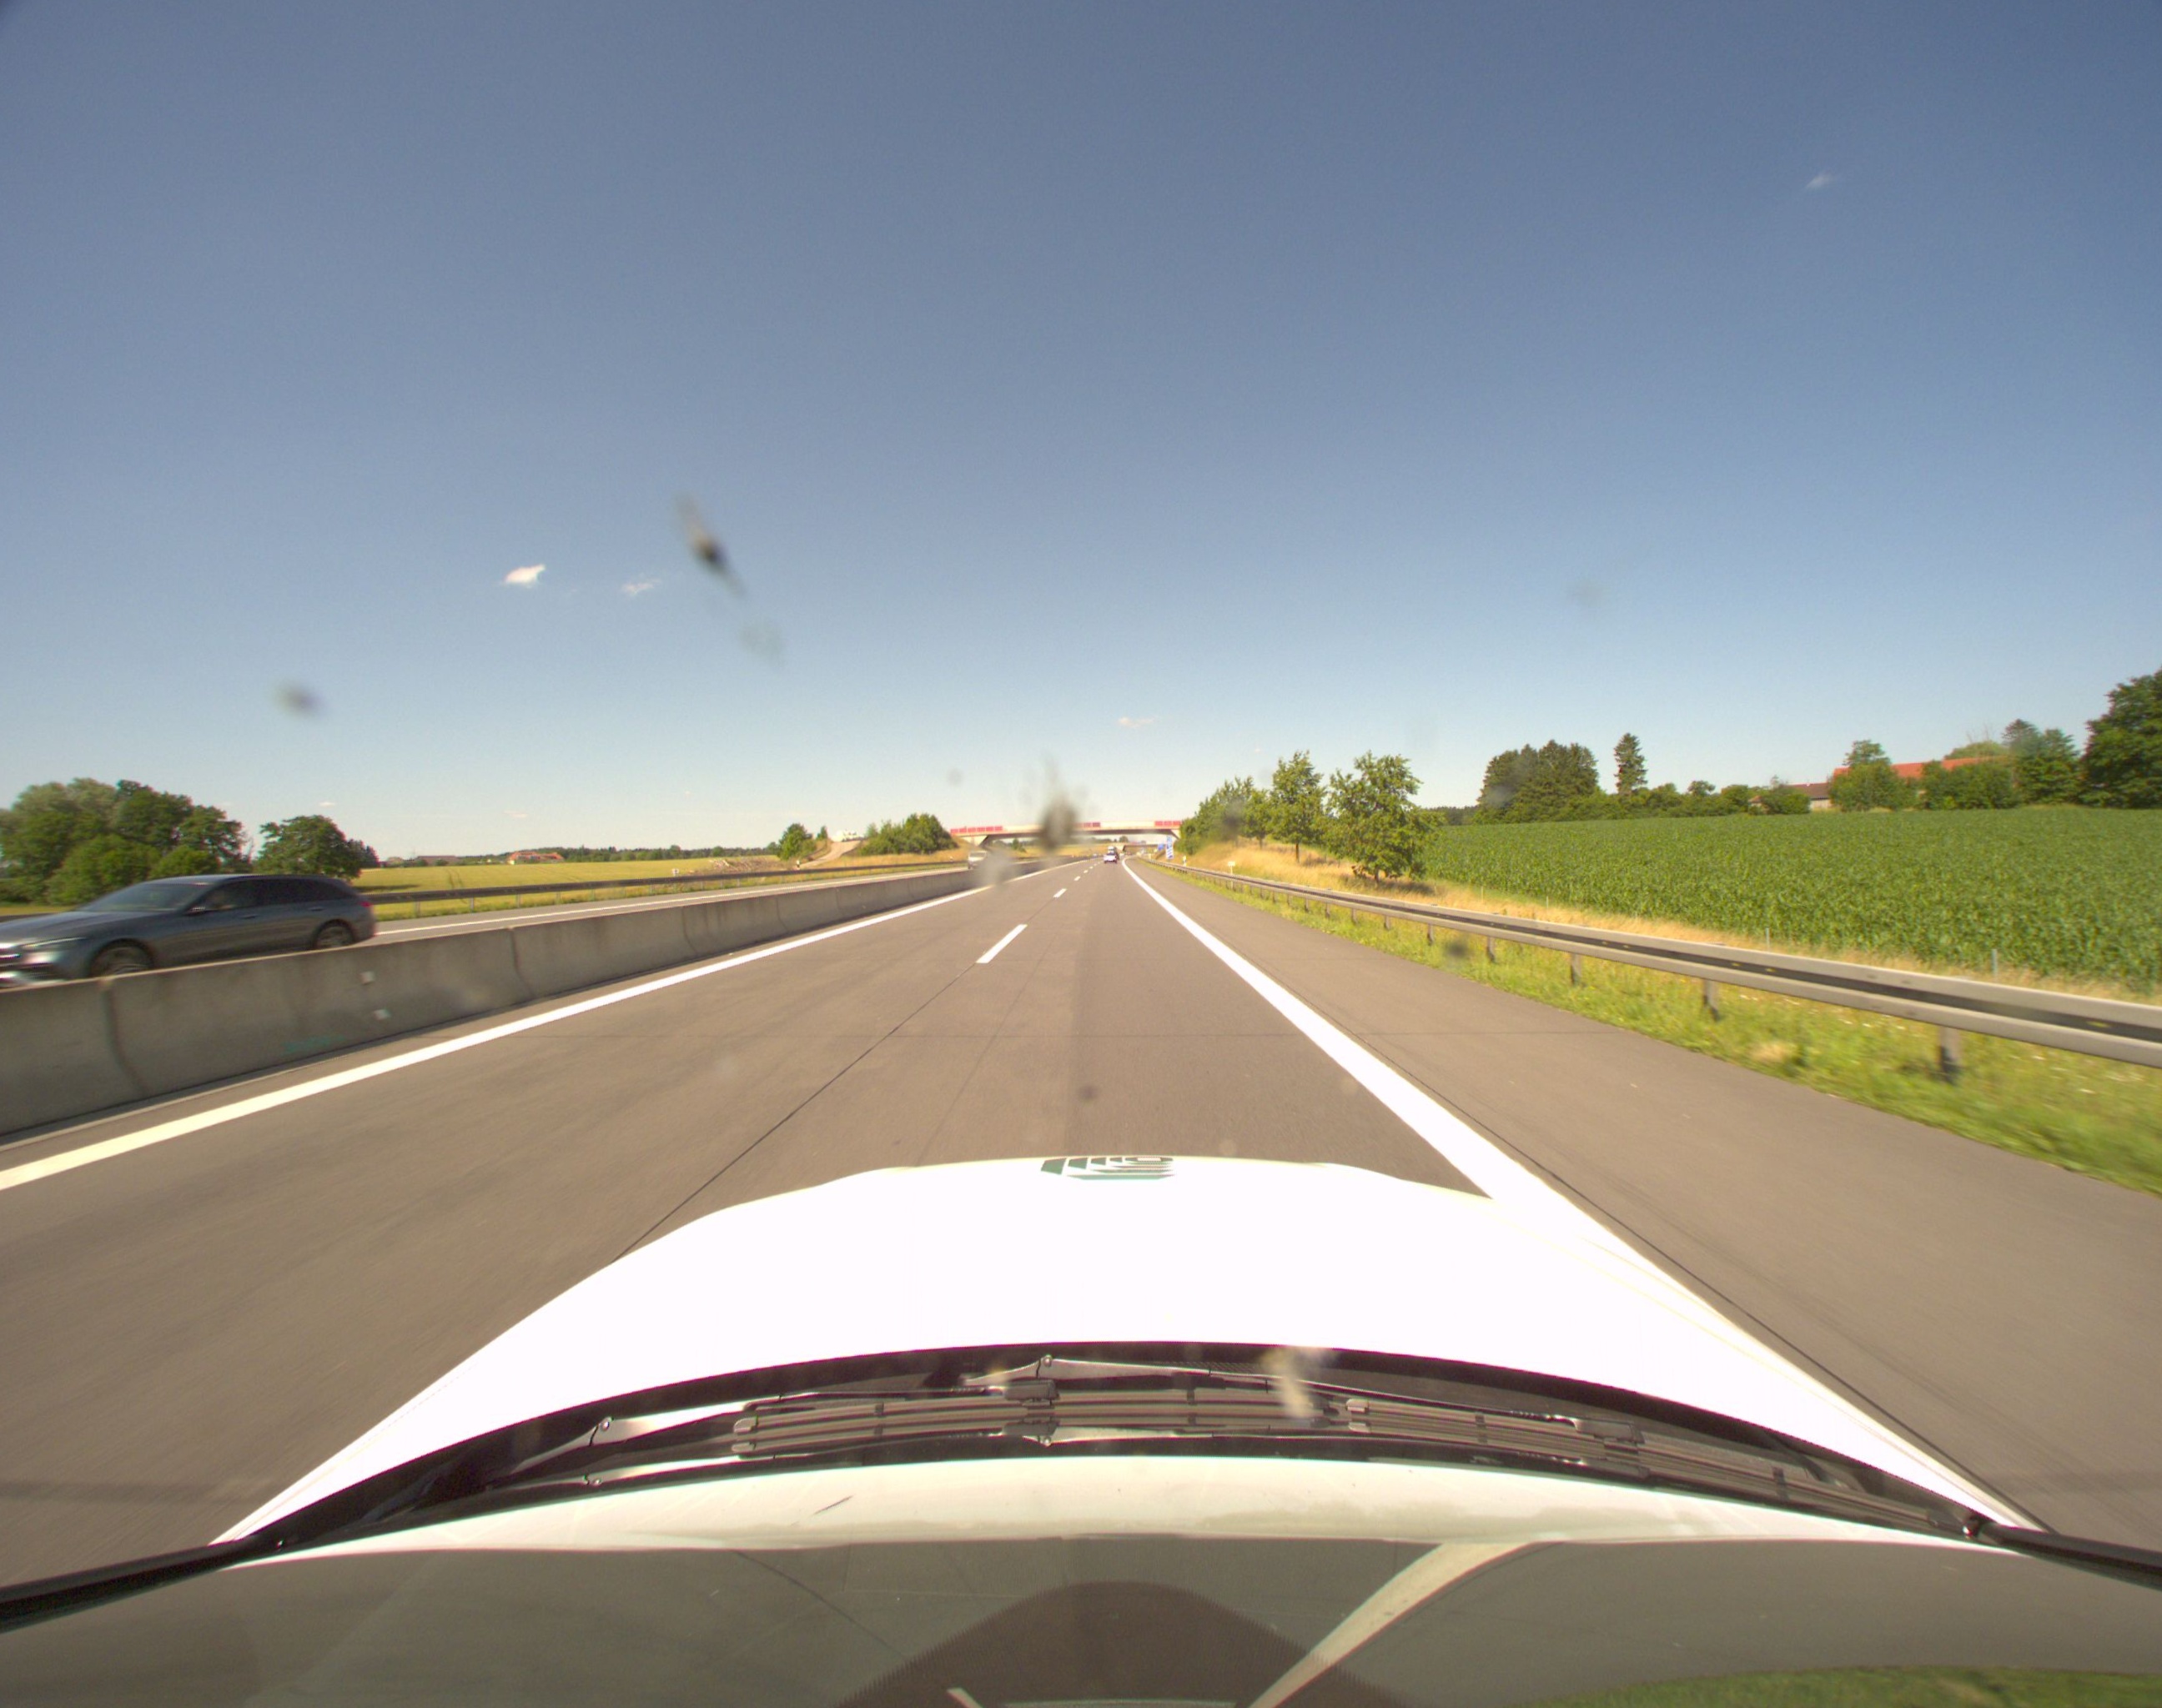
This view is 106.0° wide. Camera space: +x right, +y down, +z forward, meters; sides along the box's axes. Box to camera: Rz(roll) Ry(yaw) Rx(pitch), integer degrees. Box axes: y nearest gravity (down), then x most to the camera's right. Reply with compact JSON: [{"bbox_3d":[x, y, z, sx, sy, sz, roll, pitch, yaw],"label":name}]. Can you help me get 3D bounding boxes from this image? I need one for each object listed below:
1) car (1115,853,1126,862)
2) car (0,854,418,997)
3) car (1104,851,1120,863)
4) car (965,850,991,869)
[{"bbox_3d":[8.288,0.681,169.556,1.984,1.731,4.876,-2,0,5],"label":"car"},{"bbox_3d":[-13.301,0.882,12.570,1.900,1.685,5.009,1,1,2],"label":"car"},{"bbox_3d":[4.495,0.426,117.289,1.987,1.731,4.867,-2,0,-1],"label":"car"},{"bbox_3d":[-11.400,0.584,90.499,1.986,2.014,5.716,1,-1,1],"label":"car"}]
